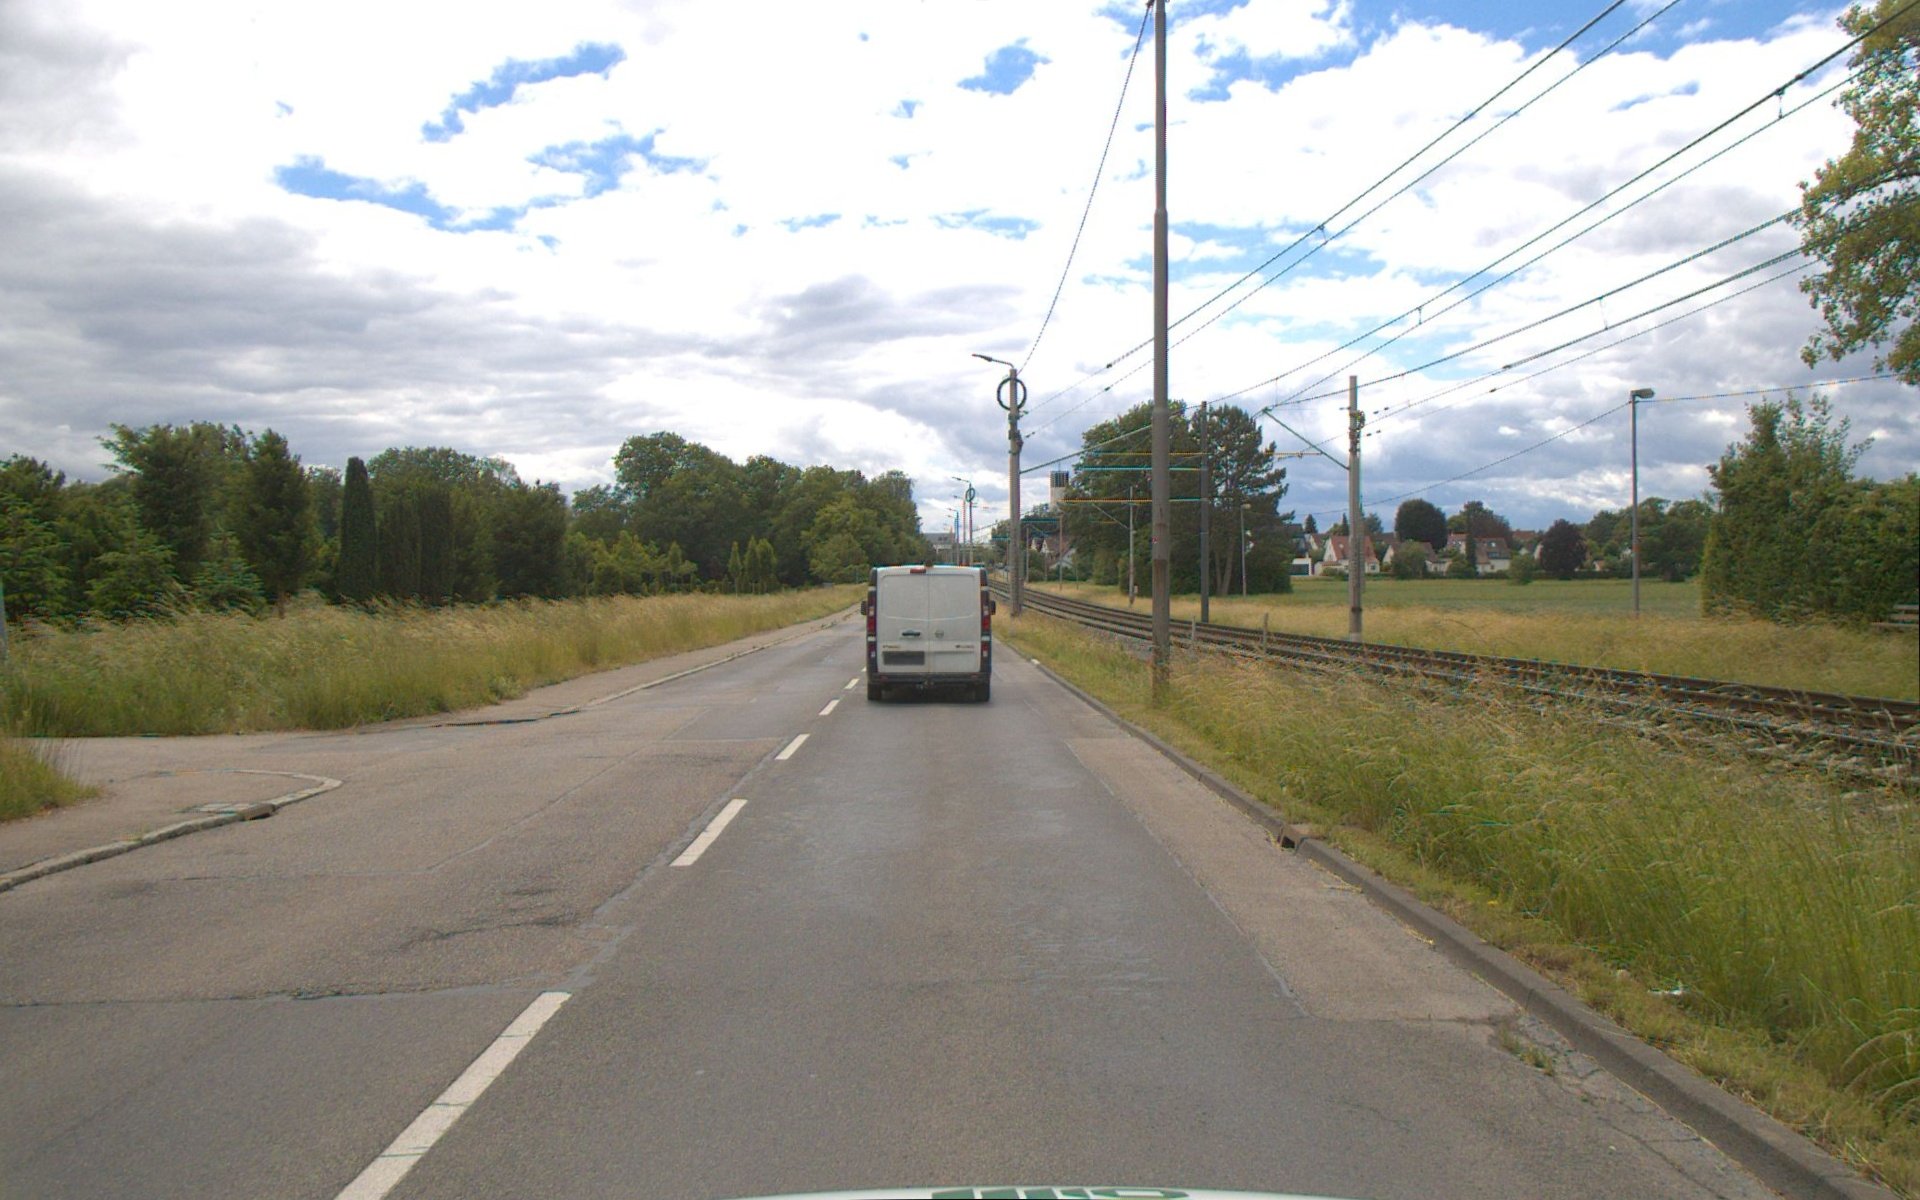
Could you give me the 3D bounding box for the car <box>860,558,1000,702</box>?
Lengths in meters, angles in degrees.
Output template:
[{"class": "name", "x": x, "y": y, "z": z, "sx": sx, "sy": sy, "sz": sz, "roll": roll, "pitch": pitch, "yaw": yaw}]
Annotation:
[{"class": "car", "x": -0.490, "y": 0.412, "z": 25.255, "sx": 1.953, "sy": 1.991, "sz": 3.998, "roll": -1, "pitch": 0, "yaw": -2}]
